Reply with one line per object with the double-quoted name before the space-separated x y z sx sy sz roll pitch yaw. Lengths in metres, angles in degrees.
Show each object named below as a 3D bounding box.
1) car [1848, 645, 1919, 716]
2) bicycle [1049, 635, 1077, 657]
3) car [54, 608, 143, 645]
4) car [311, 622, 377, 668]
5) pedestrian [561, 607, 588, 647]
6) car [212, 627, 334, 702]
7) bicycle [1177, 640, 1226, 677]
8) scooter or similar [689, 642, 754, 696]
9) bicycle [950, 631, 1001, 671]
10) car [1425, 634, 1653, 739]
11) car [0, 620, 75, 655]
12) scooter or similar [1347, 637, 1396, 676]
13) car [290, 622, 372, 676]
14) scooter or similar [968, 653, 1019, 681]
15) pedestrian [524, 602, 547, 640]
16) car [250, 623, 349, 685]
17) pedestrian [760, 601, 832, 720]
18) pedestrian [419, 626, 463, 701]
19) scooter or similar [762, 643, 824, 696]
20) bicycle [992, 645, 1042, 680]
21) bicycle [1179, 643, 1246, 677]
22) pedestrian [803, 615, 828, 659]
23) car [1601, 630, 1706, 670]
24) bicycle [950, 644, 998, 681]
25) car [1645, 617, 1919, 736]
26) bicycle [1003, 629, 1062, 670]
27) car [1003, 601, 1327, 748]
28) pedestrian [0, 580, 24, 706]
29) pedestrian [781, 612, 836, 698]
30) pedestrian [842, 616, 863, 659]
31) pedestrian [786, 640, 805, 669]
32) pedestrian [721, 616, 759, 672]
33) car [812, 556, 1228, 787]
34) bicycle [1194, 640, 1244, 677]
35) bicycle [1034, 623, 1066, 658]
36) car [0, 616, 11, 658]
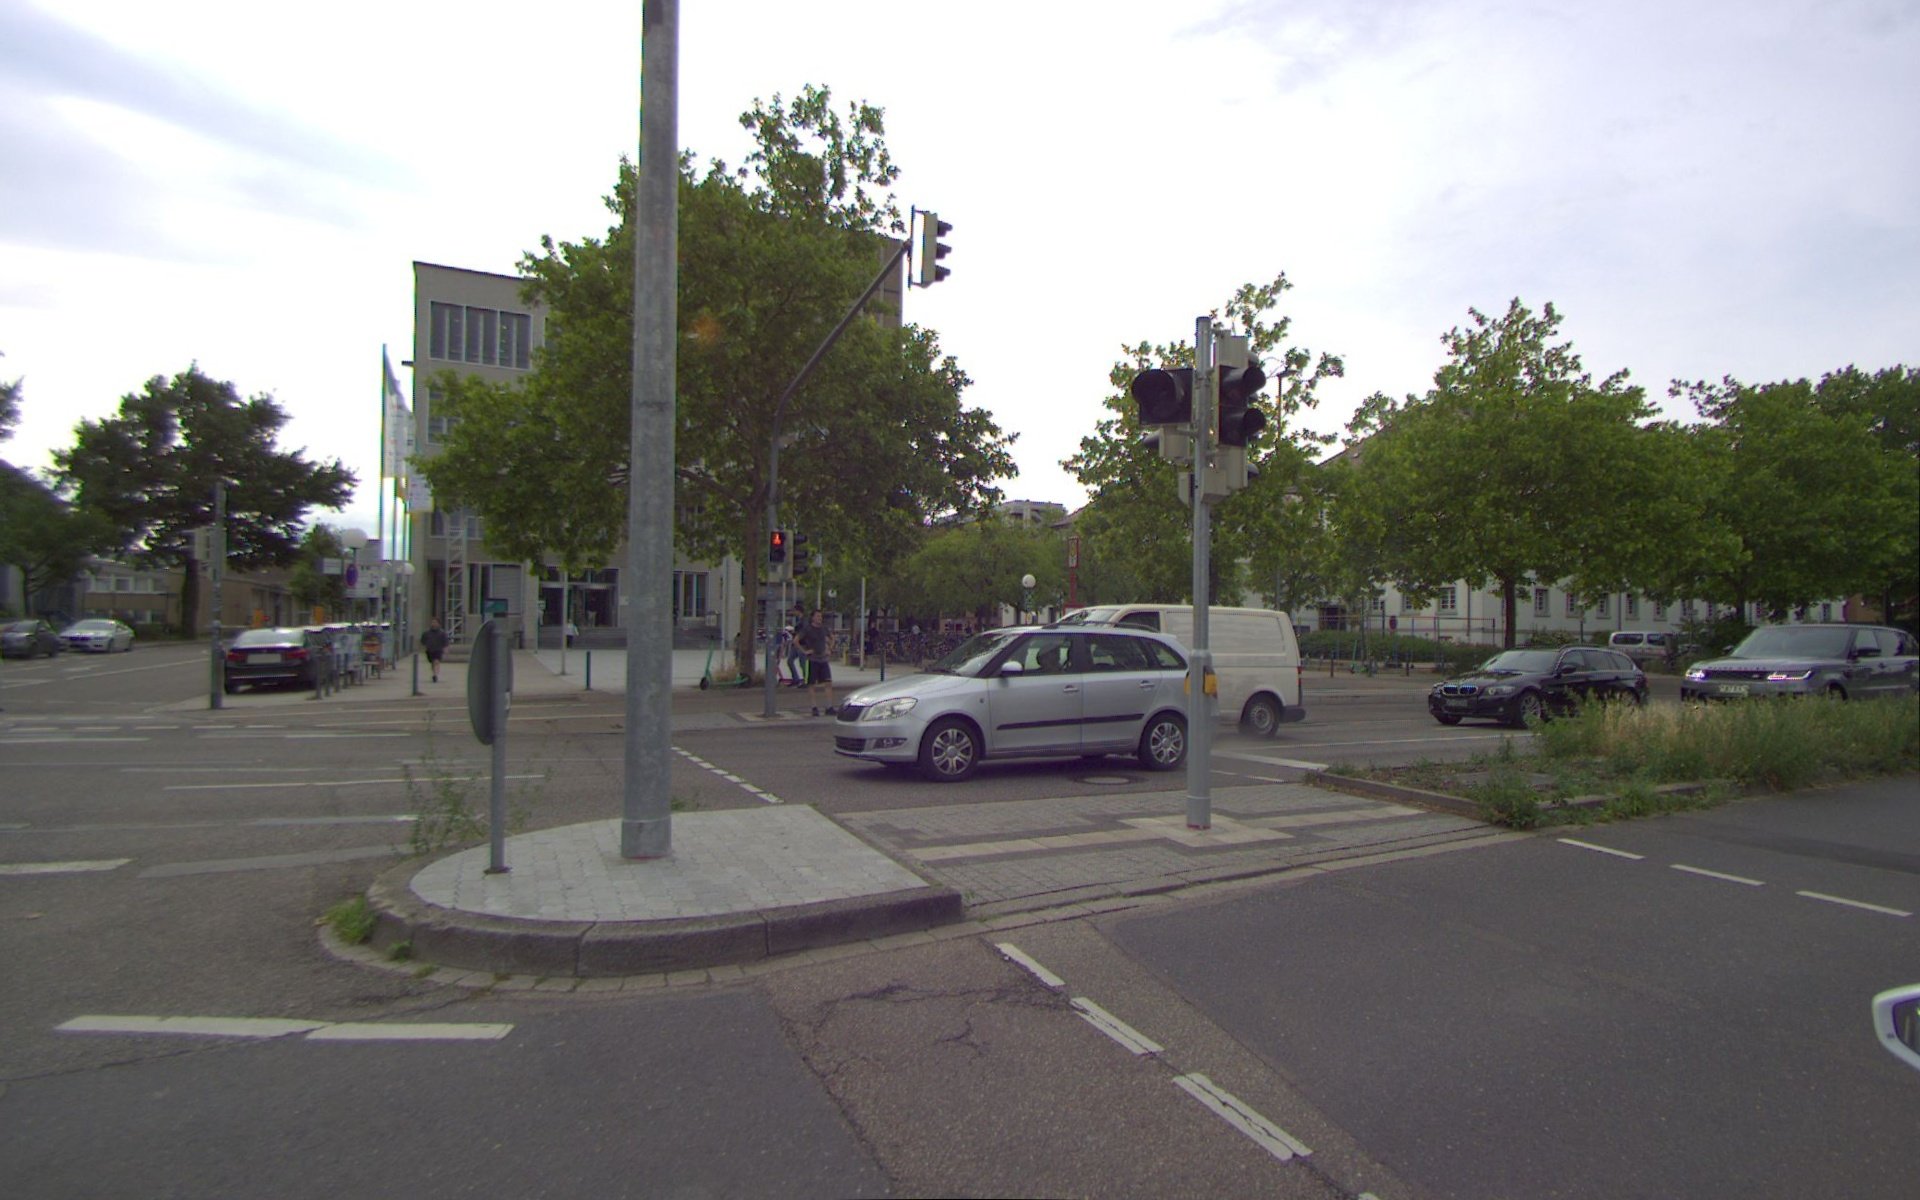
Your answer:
"car" 25.025 2.037 25.675 4.410 1.716 1.987 2 -3 -26
"bicycle" 5.737 2.563 56.232 0.906 1.221 2.664 2 -2 -8
"car" -39.363 1.238 46.033 1.972 1.561 3.977 2 -2 -24
"car" -23.860 1.741 39.033 1.830 1.705 3.973 2 -2 -27
"pedestrian" -19.856 1.408 51.707 1.031 2.040 0.785 3 -3 -43
"car" -16.200 1.468 23.901 1.976 1.491 4.123 2 0 -29
"bicycle" 10.728 2.584 44.731 0.713 1.615 2.388 2 -2 -29
"scooter or similar" -5.168 1.495 21.784 1.302 1.155 0.359 2 -2 -26
"bicycle" 0.603 2.067 41.054 0.772 1.579 2.645 2 -2 -31
"car" 10.448 1.513 18.102 3.948 1.712 1.693 2 -3 -27
"car" -36.206 1.430 38.835 1.975 1.303 3.973 2 -2 -27
"scooter or similar" 13.776 1.873 33.663 0.559 1.260 1.570 2 -2 -25
"car" -21.474 1.645 34.438 1.974 1.601 3.972 2 0 -27
"scooter or similar" 0.883 1.761 26.483 1.271 0.703 0.405 2 0 -24
"pedestrian" -23.519 1.181 55.641 0.941 2.040 0.785 3 -3 -43
"car" -18.402 1.462 28.151 1.976 1.491 3.969 2 0 -29
"pedestrian" -2.908 1.066 17.812 0.997 2.040 0.890 2 -2 -28
"pedestrian" -14.488 1.767 28.063 1.004 2.040 0.999 2 -2 -26
"scooter or similar" -3.726 1.545 22.477 1.302 1.155 0.359 2 -2 -26
"bicycle" 2.226 2.453 39.736 0.713 1.286 2.524 2 -2 -29
"bicycle" 9.287 2.188 37.077 0.713 1.190 2.734 2 -2 -29
"pedestrian" -6.759 1.729 47.026 0.969 2.040 0.796 1 -2 2
"car" 31.578 2.242 45.839 1.631 1.623 3.571 2 0 -28
"bicycle" 0.523 2.396 38.984 0.713 1.371 2.473 2 -2 -29
"car" 13.859 1.198 16.603 4.881 1.709 1.988 2 -1 -25
"bicycle" 2.908 1.991 40.706 0.914 1.579 2.640 2 -2 -36
"car" 3.000 1.019 14.594 4.428 1.872 1.766 2 0 -25
"pedestrian" -16.326 0.727 16.813 0.844 2.085 0.662 -1 -2 -33
"pedestrian" -3.338 1.211 22.082 0.925 1.827 0.891 2 -3 -29
"pedestrian" -5.133 1.797 48.081 0.783 2.040 0.894 2 -2 -19
"pedestrian" -8.128 2.701 49.682 0.783 1.437 0.894 2 -2 -19
"pedestrian" -8.154 1.626 37.215 1.090 2.040 0.785 3 -3 -43
"car" 0.638 0.723 10.646 3.948 2.040 1.987 2 -3 -26
"bicycle" 11.690 2.618 45.382 0.713 1.615 2.388 2 -2 -29
"bicycle" 4.239 1.920 47.608 0.906 1.579 2.664 1 -2 -8
"car" -33.361 1.253 32.986 1.973 1.409 3.975 2 0 -25
